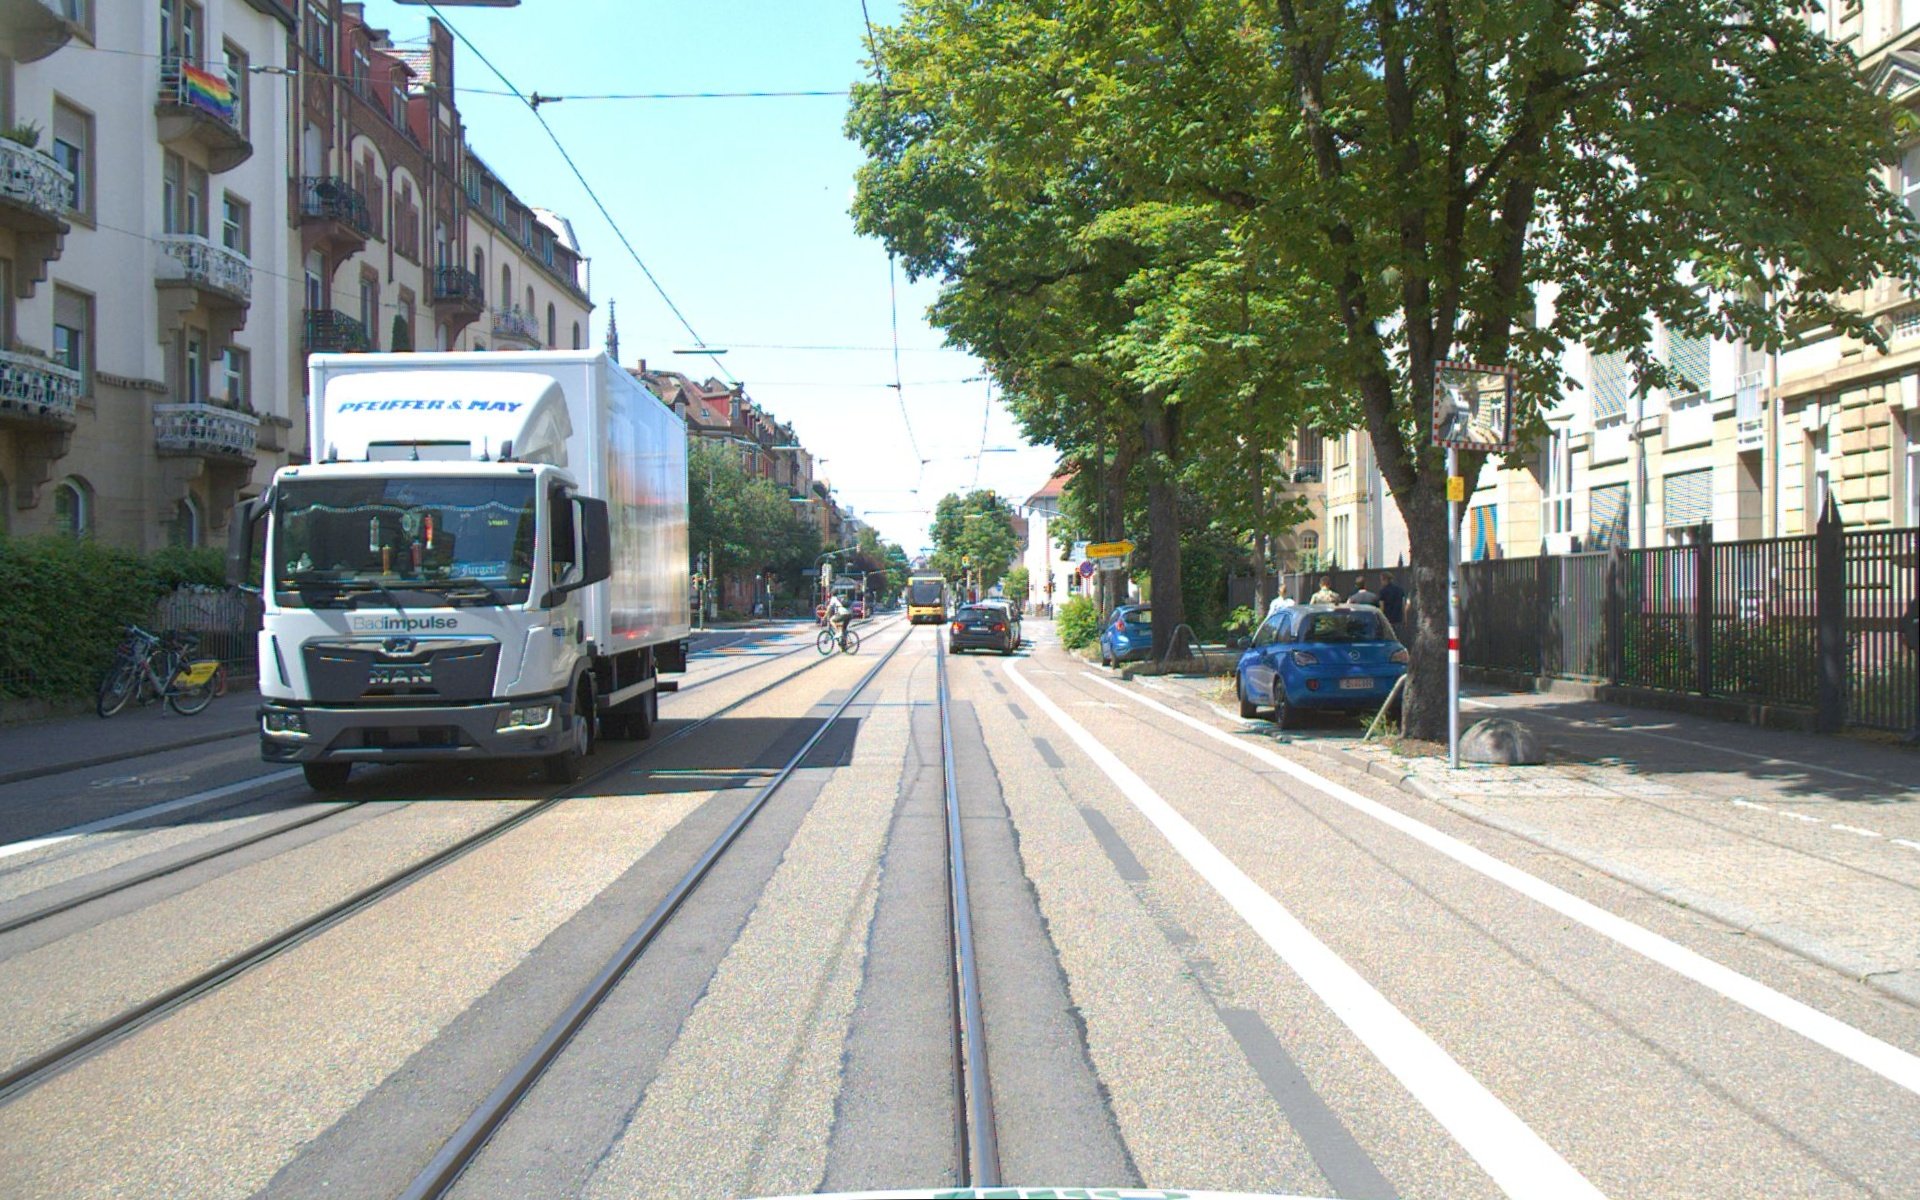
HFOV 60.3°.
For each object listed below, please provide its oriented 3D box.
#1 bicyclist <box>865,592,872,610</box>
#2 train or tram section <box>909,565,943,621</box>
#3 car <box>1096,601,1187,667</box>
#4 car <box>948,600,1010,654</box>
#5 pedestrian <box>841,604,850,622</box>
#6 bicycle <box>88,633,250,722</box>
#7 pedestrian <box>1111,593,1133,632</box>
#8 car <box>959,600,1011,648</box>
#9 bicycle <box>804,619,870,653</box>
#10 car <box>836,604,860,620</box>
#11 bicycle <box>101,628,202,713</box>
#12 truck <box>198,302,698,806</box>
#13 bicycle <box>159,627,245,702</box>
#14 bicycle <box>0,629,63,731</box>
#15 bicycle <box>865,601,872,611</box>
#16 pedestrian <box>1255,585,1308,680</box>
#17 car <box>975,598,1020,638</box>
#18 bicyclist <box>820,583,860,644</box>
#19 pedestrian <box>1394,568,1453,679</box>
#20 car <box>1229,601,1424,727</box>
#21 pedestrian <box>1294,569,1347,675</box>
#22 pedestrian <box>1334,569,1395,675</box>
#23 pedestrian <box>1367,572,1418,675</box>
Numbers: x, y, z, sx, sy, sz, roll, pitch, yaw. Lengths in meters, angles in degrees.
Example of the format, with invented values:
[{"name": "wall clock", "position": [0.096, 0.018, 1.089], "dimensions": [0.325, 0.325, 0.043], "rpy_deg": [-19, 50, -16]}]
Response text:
[{"name": "bicyclist", "position": [-10.165, 0.111, 183.755], "dimensions": [0.708, 1.903, 0.825], "rpy_deg": [0, 0, 0]}, {"name": "train or tram section", "position": [-2.253, -0.478, 109.613], "dimensions": [2.146, 3.543, 8.843], "rpy_deg": [-1, 0, -1]}, {"name": "car", "position": [4.297, 0.777, 39.594], "dimensions": [1.643, 1.469, 3.720], "rpy_deg": [-1, 0, -2]}, {"name": "car", "position": [0.563, 0.741, 47.963], "dimensions": [1.687, 1.433, 4.565], "rpy_deg": [2, 0, 1]}, {"name": "pedestrian", "position": [-7.742, 0.885, 112.069], "dimensions": [0.602, 1.264, 0.627], "rpy_deg": [0, 0, -7]}, {"name": "bicycle", "position": [-9.830, 0.937, 20.621], "dimensions": [0.597, 1.017, 1.769], "rpy_deg": [-1, 0, 34]}, {"name": "pedestrian", "position": [7.036, 0.551, 72.022], "dimensions": [0.839, 1.674, 0.836], "rpy_deg": [-1, 0, -1]}, {"name": "car", "position": [0.836, 0.761, 54.859], "dimensions": [1.650, 1.510, 3.685], "rpy_deg": [-1, 0, 1]}, {"name": "bicycle", "position": [-3.447, 1.000, 46.298], "dimensions": [1.784, 0.832, 0.752], "rpy_deg": [2, 1, 36]}, {"name": "car", "position": [-10.000, 1.066, 147.842], "dimensions": [1.785, 1.438, 4.428], "rpy_deg": [-1, 0, 0]}, {"name": "bicycle", "position": [-10.599, 0.907, 21.737], "dimensions": [0.455, 1.016, 1.707], "rpy_deg": [3, 0, -1]}, {"name": "truck", "position": [-4.413, -0.352, 16.301], "dimensions": [2.730, 3.683, 8.251], "rpy_deg": [-1, 0, -3]}, {"name": "bicycle", "position": [-10.795, 0.902, 23.606], "dimensions": [0.405, 0.983, 1.725], "rpy_deg": [3, 0, -1]}, {"name": "bicycle", "position": [-10.780, 0.884, 18.409], "dimensions": [0.595, 1.050, 1.771], "rpy_deg": [3, 0, -1]}, {"name": "bicycle", "position": [-10.157, 0.648, 183.680], "dimensions": [0.713, 1.121, 1.716], "rpy_deg": [-1, 0, 1]}, {"name": "pedestrian", "position": [5.795, 0.568, 29.825], "dimensions": [0.750, 1.680, 0.974], "rpy_deg": [-1, 0, 0]}, {"name": "car", "position": [1.541, 0.716, 66.859], "dimensions": [1.656, 1.540, 3.823], "rpy_deg": [1, 0, 4]}, {"name": "bicyclist", "position": [-3.356, 0.383, 46.252], "dimensions": [0.815, 1.692, 0.755], "rpy_deg": [0, -1, 38]}, {"name": "pedestrian", "position": [7.797, 0.393, 27.847], "dimensions": [0.670, 1.829, 1.084], "rpy_deg": [-1, 0, -1]}, {"name": "car", "position": [4.635, 0.760, 21.358], "dimensions": [1.657, 1.478, 3.473], "rpy_deg": [-1, 0, -2]}, {"name": "pedestrian", "position": [6.250, 0.375, 28.715], "dimensions": [0.690, 1.807, 0.947], "rpy_deg": [-1, 0, -1]}, {"name": "pedestrian", "position": [7.016, 0.375, 28.748], "dimensions": [0.771, 1.792, 1.052], "rpy_deg": [-1, 0, -1]}, {"name": "pedestrian", "position": [7.853, 0.420, 30.077], "dimensions": [0.647, 1.843, 0.977], "rpy_deg": [-1, 0, -1]}]
